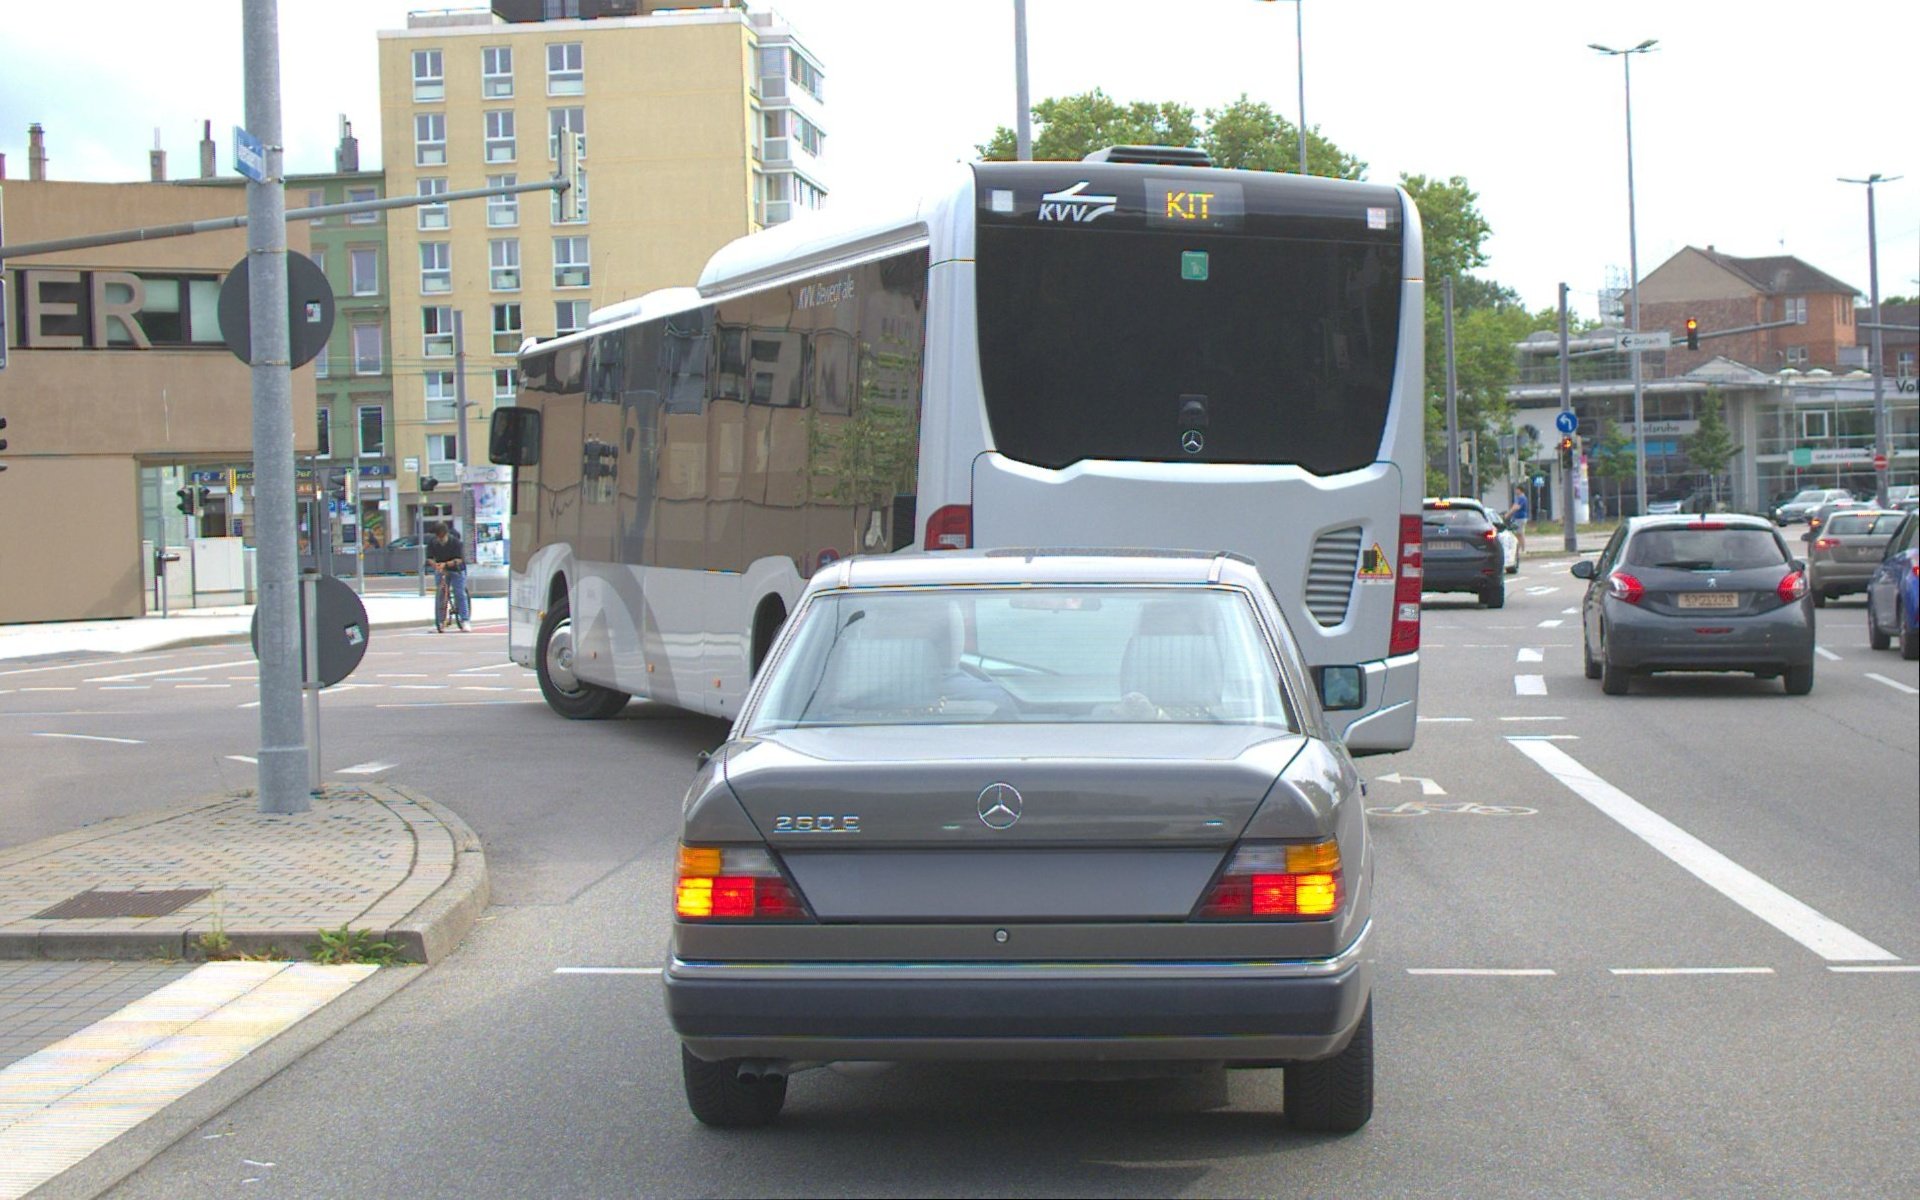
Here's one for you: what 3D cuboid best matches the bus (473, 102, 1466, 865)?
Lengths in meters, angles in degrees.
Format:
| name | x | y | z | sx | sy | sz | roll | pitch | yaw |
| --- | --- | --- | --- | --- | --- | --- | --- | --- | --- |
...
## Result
| name | x | y | z | sx | sy | sz | roll | pitch | yaw |
| --- | --- | --- | --- | --- | --- | --- | --- | --- | --- |
| bus | -0.867 | -0.632 | 22.845 | 2.704 | 3.426 | 14.188 | -3 | 1 | -15 |

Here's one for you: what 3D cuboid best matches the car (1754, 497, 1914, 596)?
| name | x | y | z | sx | sy | sz | roll | pitch | yaw |
| --- | --- | --- | --- | --- | --- | --- | --- | --- | --- |
| car | 12.965 | -0.800 | 51.184 | 2.133 | 1.415 | 3.699 | 0 | 1 | 12 |

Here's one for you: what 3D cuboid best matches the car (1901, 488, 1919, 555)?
| name | x | y | z | sx | sy | sz | roll | pitch | yaw |
| --- | --- | --- | --- | --- | --- | --- | --- | --- | --- |
| car | 21.398 | -1.707 | 74.690 | 1.705 | 1.415 | 3.697 | 0 | 1 | 17 |

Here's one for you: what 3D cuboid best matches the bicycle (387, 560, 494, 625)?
| name | x | y | z | sx | sy | sz | roll | pitch | yaw |
| --- | --- | --- | --- | --- | --- | --- | --- | --- | --- |
| bicycle | -7.272 | -0.118 | 48.236 | 0.862 | 0.873 | 2.518 | 0 | 1 | 7 |

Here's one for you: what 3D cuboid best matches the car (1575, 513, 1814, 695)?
| name | x | y | z | sx | sy | sz | roll | pitch | yaw |
| --- | --- | --- | --- | --- | --- | --- | --- | --- | --- |
| car | 6.101 | -0.009 | 28.895 | 1.711 | 1.415 | 3.999 | 0 | 1 | 8 |

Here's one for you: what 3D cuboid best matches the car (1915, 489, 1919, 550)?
| name | x | y | z | sx | sy | sz | roll | pitch | yaw |
| --- | --- | --- | --- | --- | --- | --- | --- | --- | --- |
| car | 23.520 | -1.890 | 81.247 | 1.705 | 1.415 | 3.697 | 0 | 1 | 17 |

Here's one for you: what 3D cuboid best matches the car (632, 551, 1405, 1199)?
| name | x | y | z | sx | sy | sz | roll | pitch | yaw |
| --- | --- | --- | --- | --- | --- | --- | --- | --- | --- |
| car | 0.227 | 0.613 | 9.756 | 1.695 | 1.475 | 4.416 | 0 | 1 | 3 |

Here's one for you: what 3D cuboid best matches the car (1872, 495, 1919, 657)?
| name | x | y | z | sx | sy | sz | roll | pitch | yaw |
| --- | --- | --- | --- | --- | --- | --- | --- | --- | --- |
| car | 10.081 | -0.260 | 34.244 | 1.859 | 1.527 | 3.999 | 0 | 1 | 16 |

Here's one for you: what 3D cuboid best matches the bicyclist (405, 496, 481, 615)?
| name | x | y | z | sx | sy | sz | roll | pitch | yaw |
| --- | --- | --- | --- | --- | --- | --- | --- | --- | --- |
| bicyclist | -7.267 | -0.629 | 48.355 | 0.867 | 1.663 | 0.881 | 0 | 1 | 7 |

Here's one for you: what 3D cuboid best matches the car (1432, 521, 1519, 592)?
| name | x | y | z | sx | sy | sz | roll | pitch | yaw |
| --- | --- | --- | --- | --- | --- | --- | --- | --- | --- |
| car | 10.722 | -0.920 | 71.323 | 1.711 | 1.415 | 3.999 | 0 | 1 | 10 |

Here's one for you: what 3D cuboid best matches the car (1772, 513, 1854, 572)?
| name | x | y | z | sx | sy | sz | roll | pitch | yaw |
| --- | --- | --- | --- | --- | --- | --- | --- | --- | --- |
| car | 20.830 | -1.408 | 83.878 | 1.712 | 1.415 | 3.997 | 0 | 1 | 17 |

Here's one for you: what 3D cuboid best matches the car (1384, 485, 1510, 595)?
| name | x | y | z | sx | sy | sz | roll | pitch | yaw |
| --- | --- | --- | --- | --- | --- | --- | --- | --- | --- |
| car | 7.370 | -0.912 | 52.266 | 1.835 | 1.609 | 3.545 | 0 | 1 | 7 |
